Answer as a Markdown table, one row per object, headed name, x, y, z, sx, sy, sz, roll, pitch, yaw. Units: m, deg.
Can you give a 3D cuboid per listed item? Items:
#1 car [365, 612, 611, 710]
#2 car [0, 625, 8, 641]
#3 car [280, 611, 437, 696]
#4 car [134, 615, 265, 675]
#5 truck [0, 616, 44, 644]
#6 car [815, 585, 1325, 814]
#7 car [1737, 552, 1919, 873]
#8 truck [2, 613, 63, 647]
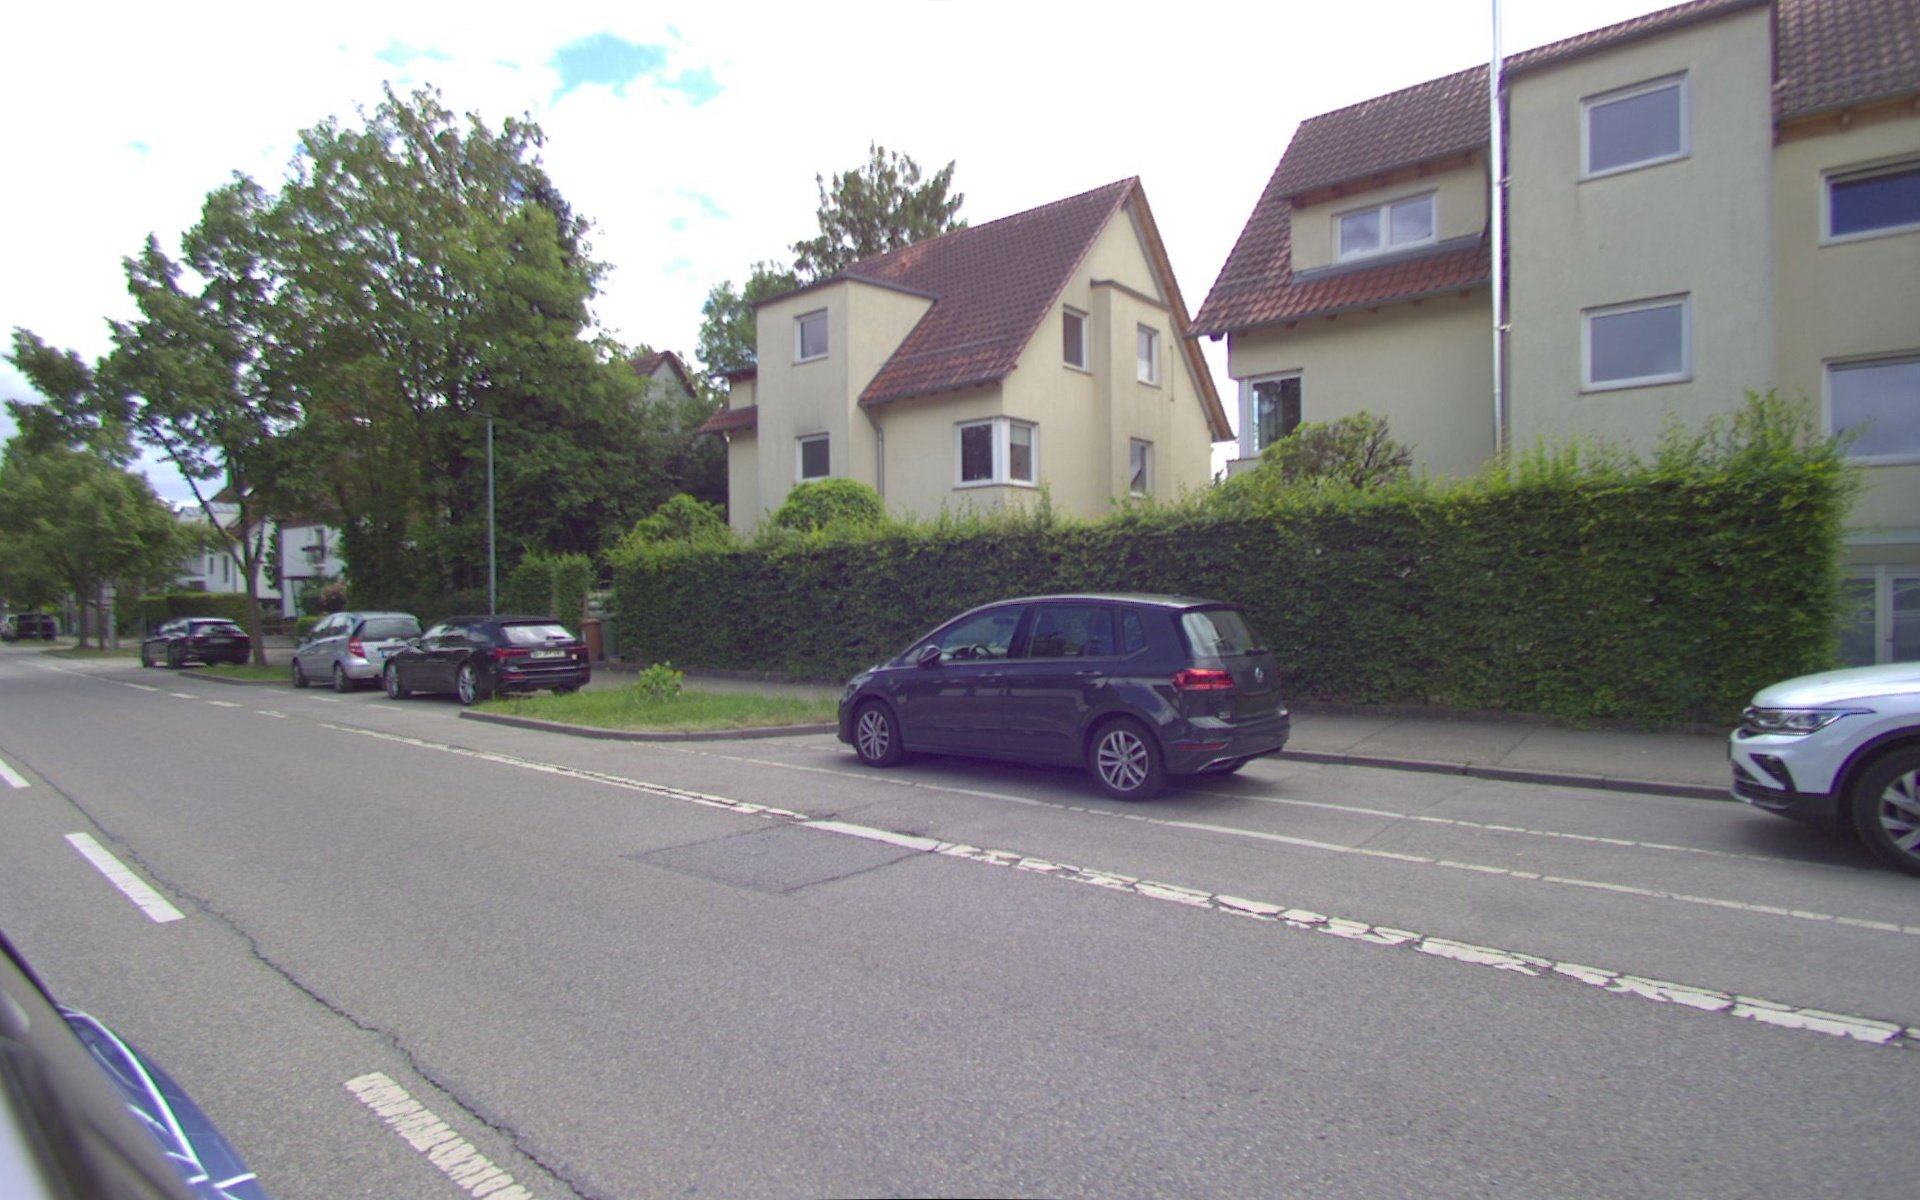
| name | x | y | z | sx | sy | sz | roll | pitch | yaw |
| --- | --- | --- | --- | --- | --- | --- | --- | --- | --- |
| car | -8.376 | 0.982 | 17.764 | 4.884 | 1.496 | 1.974 | -1 | -1 | 39 |
| car | -85.576 | 2.897 | 89.500 | 4.927 | 1.419 | 1.727 | -1 | -2 | 43 |
| car | -12.664 | 1.056 | 21.210 | 3.908 | 1.625 | 1.700 | -1 | -1 | 41 |
| car | -23.056 | 1.323 | 30.610 | 5.033 | 1.659 | 2.074 | -2 | -2 | 40 |
| truck | -64.673 | 2.050 | 69.682 | 5.666 | 1.882 | 1.945 | -1 | -2 | 44 |
| car | 0.783 | 0.714 | 8.927 | 4.269 | 1.563 | 1.660 | -1 | -1 | 40 |
| car | 6.701 | 0.552 | 4.935 | 4.580 | 1.646 | 1.803 | -1 | -1 | 38 |
| truck | -59.194 | 1.880 | 64.544 | 5.995 | 2.059 | 2.396 | -1 | 0 | 43 |
